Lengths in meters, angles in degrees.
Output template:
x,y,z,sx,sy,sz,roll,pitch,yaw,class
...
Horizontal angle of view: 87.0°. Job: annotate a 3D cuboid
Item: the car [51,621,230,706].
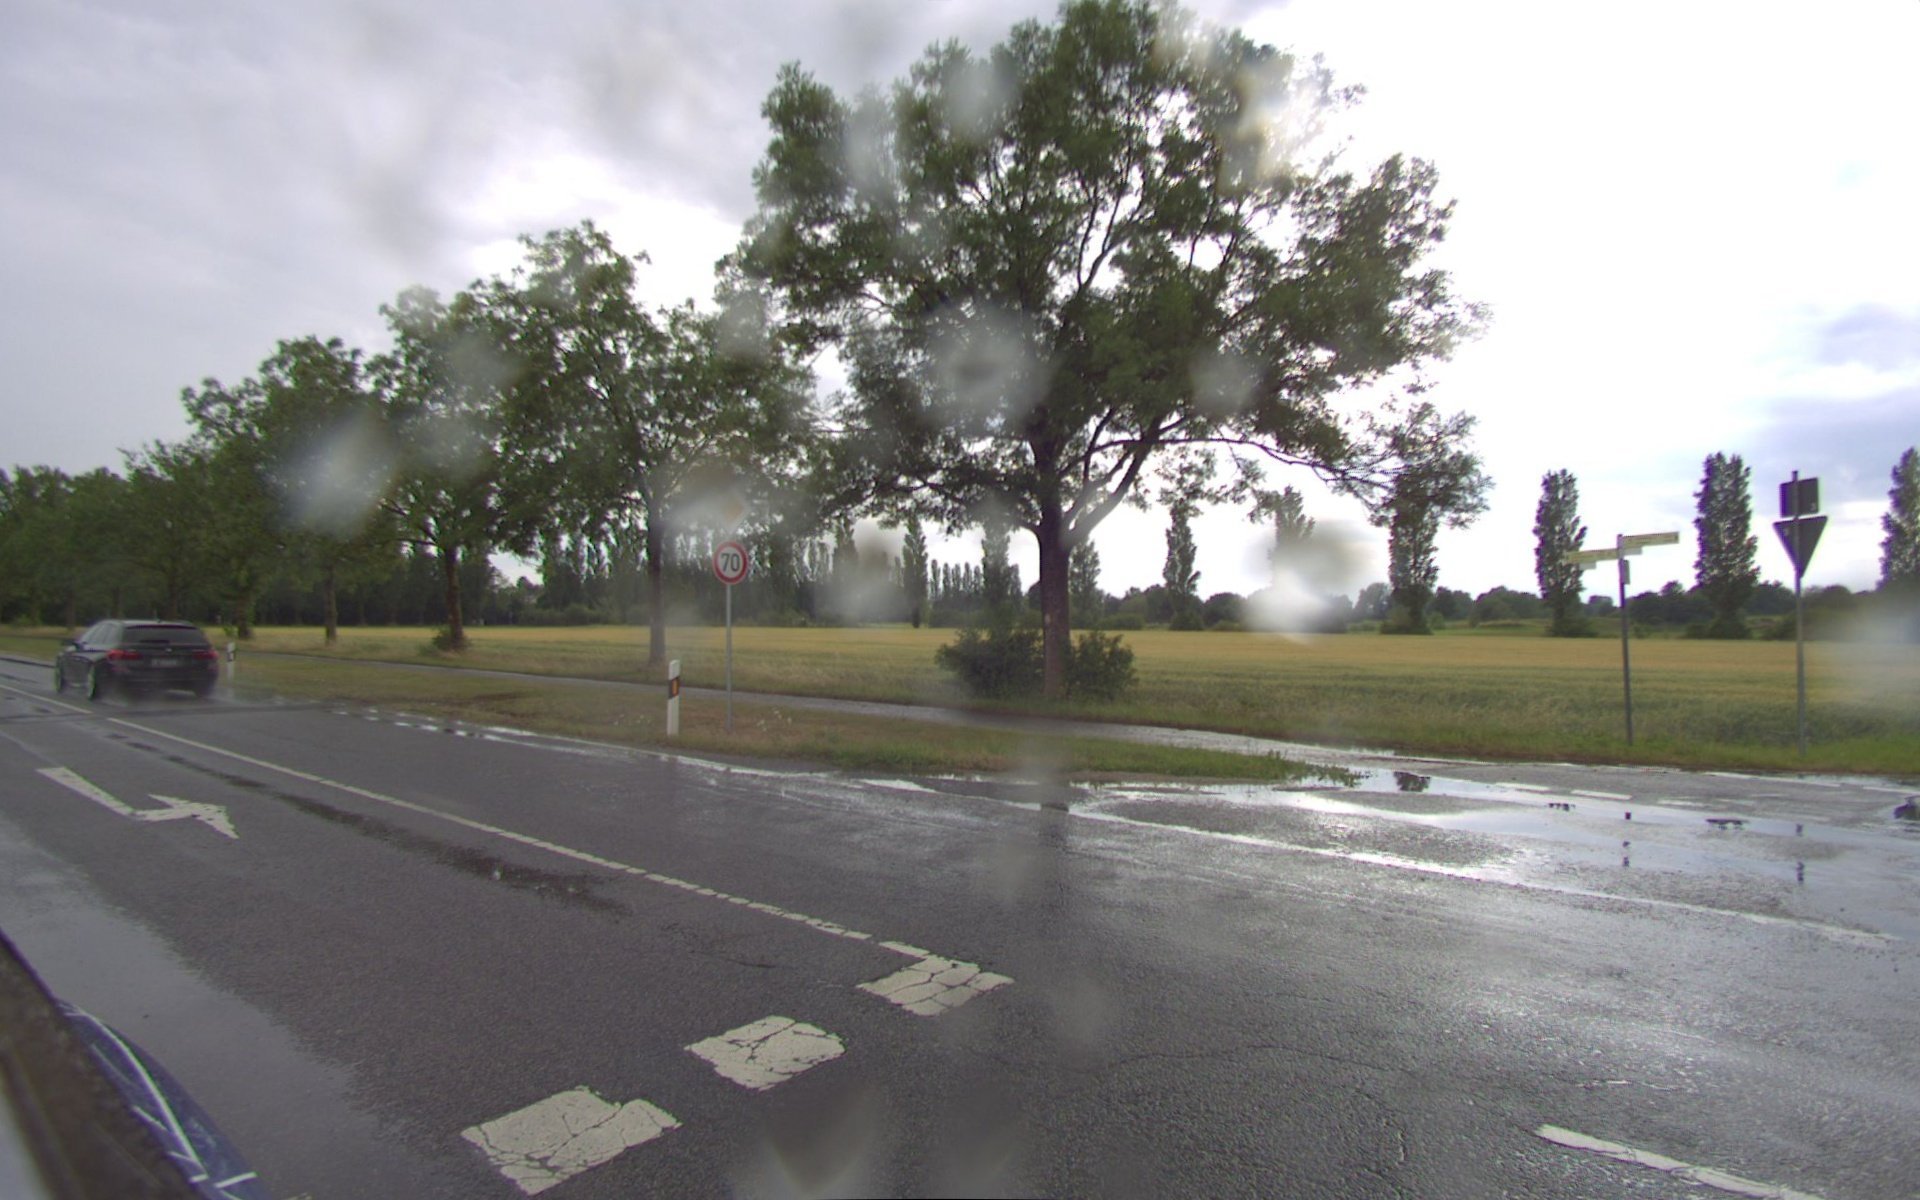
x,y,z,sx,sy,sz,roll,pitch,yaw,class
-15.705,1.137,19.319,4.409,1.449,1.748,-1,-3,39,car
